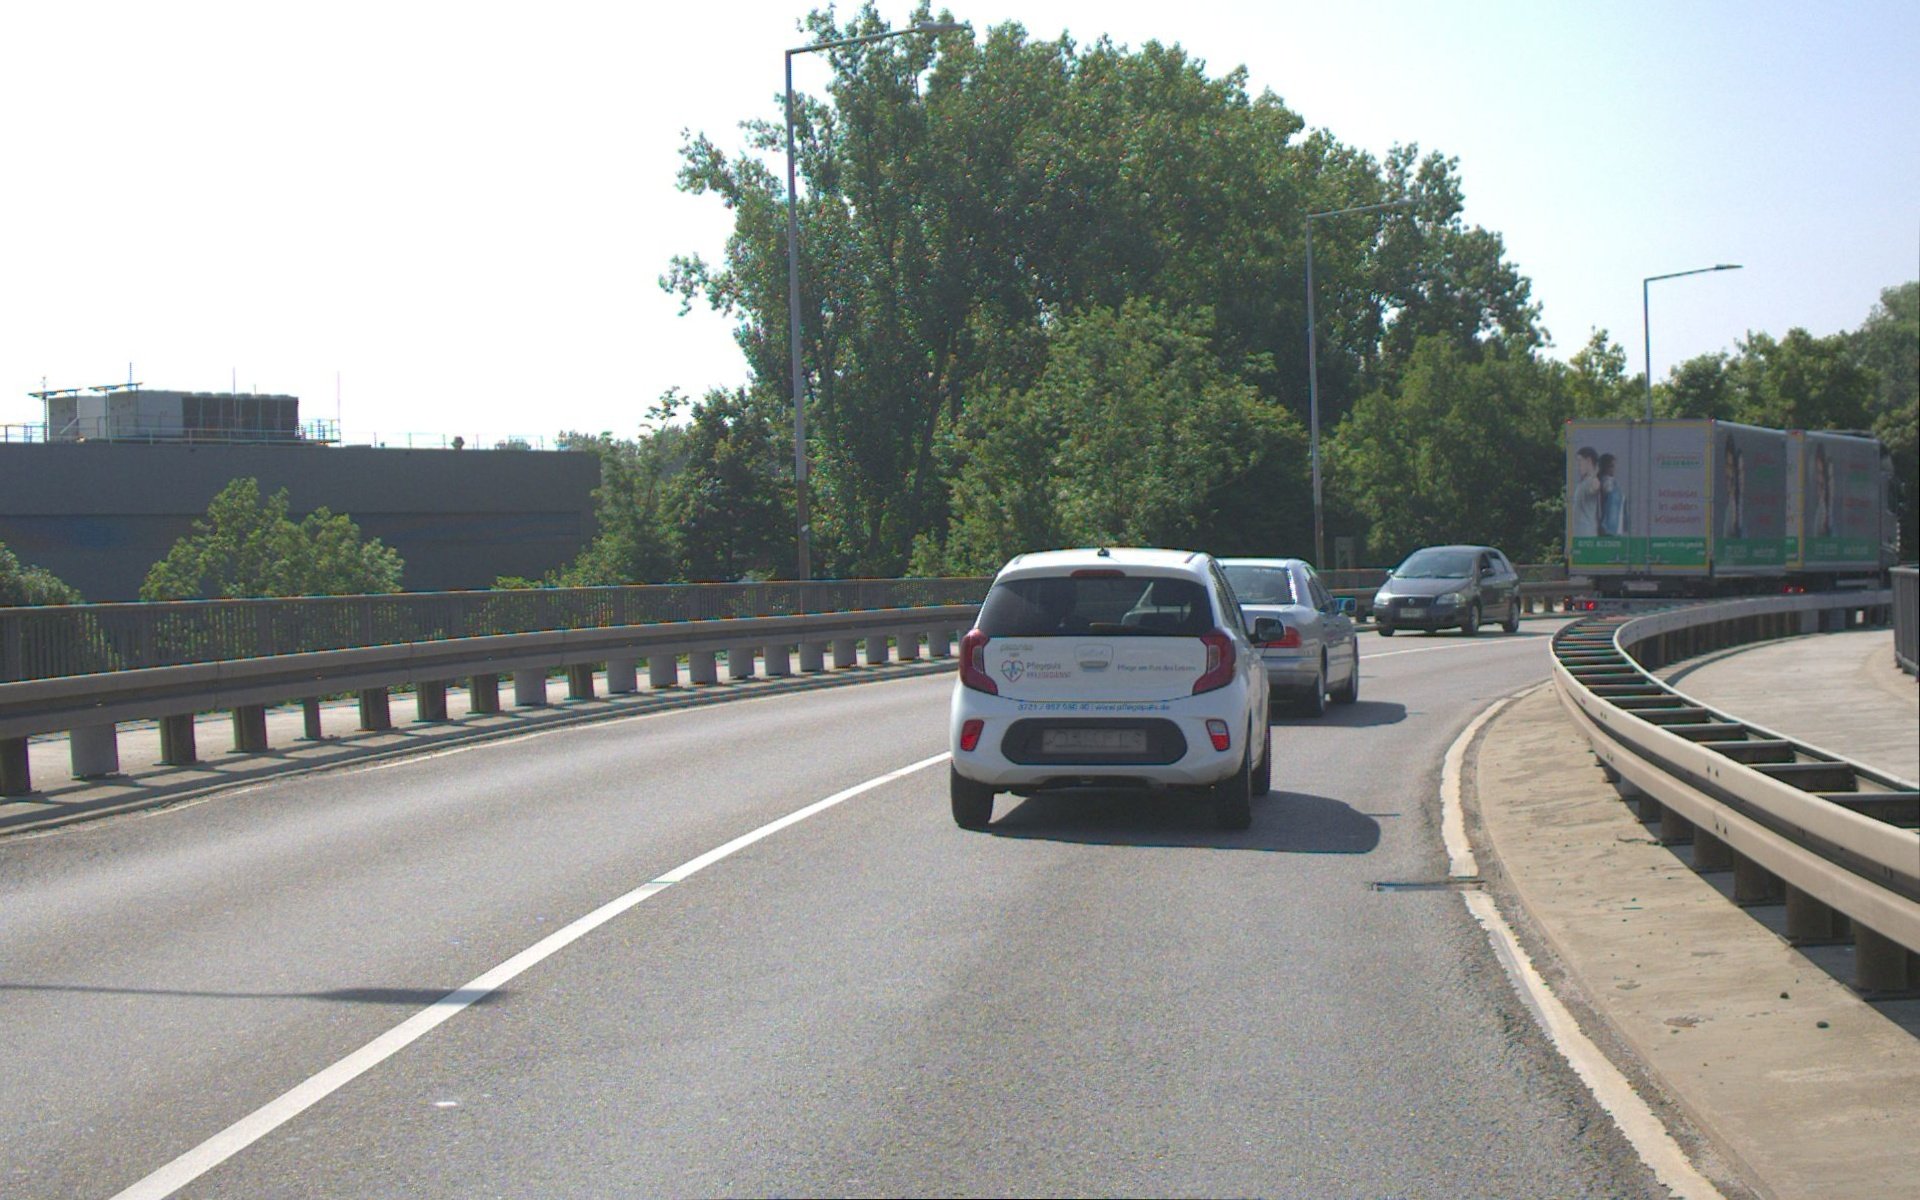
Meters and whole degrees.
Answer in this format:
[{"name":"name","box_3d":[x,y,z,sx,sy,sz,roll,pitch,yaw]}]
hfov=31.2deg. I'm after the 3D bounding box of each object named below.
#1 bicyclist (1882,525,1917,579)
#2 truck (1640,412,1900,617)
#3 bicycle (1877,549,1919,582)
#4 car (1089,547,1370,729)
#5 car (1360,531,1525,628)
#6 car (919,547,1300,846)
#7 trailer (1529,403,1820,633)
[{"name":"bicyclist","box_3d":[26.753,-1.372,97.891,0.661,1.491,1.014,1,3,34]},{"name":"truck","box_3d":[16.222,-1.746,68.383,3.265,3.745,8.360,3,3,25]},{"name":"bicycle","box_3d":[26.946,-0.986,97.936,0.930,0.888,1.963,1,2,36]},{"name":"car","box_3d":[2.549,0.280,31.373,1.940,1.481,4.898,1,1,12]},{"name":"car","box_3d":[8.655,-0.392,61.374,1.734,1.619,4.298,0,2,25]},{"name":"car","box_3d":[0.958,0.489,19.666,1.702,1.489,3.998,1,0,9]},{"name":"trailer","box_3d":[12.838,-1.513,61.214,3.229,3.745,7.814,3,3,25]}]
